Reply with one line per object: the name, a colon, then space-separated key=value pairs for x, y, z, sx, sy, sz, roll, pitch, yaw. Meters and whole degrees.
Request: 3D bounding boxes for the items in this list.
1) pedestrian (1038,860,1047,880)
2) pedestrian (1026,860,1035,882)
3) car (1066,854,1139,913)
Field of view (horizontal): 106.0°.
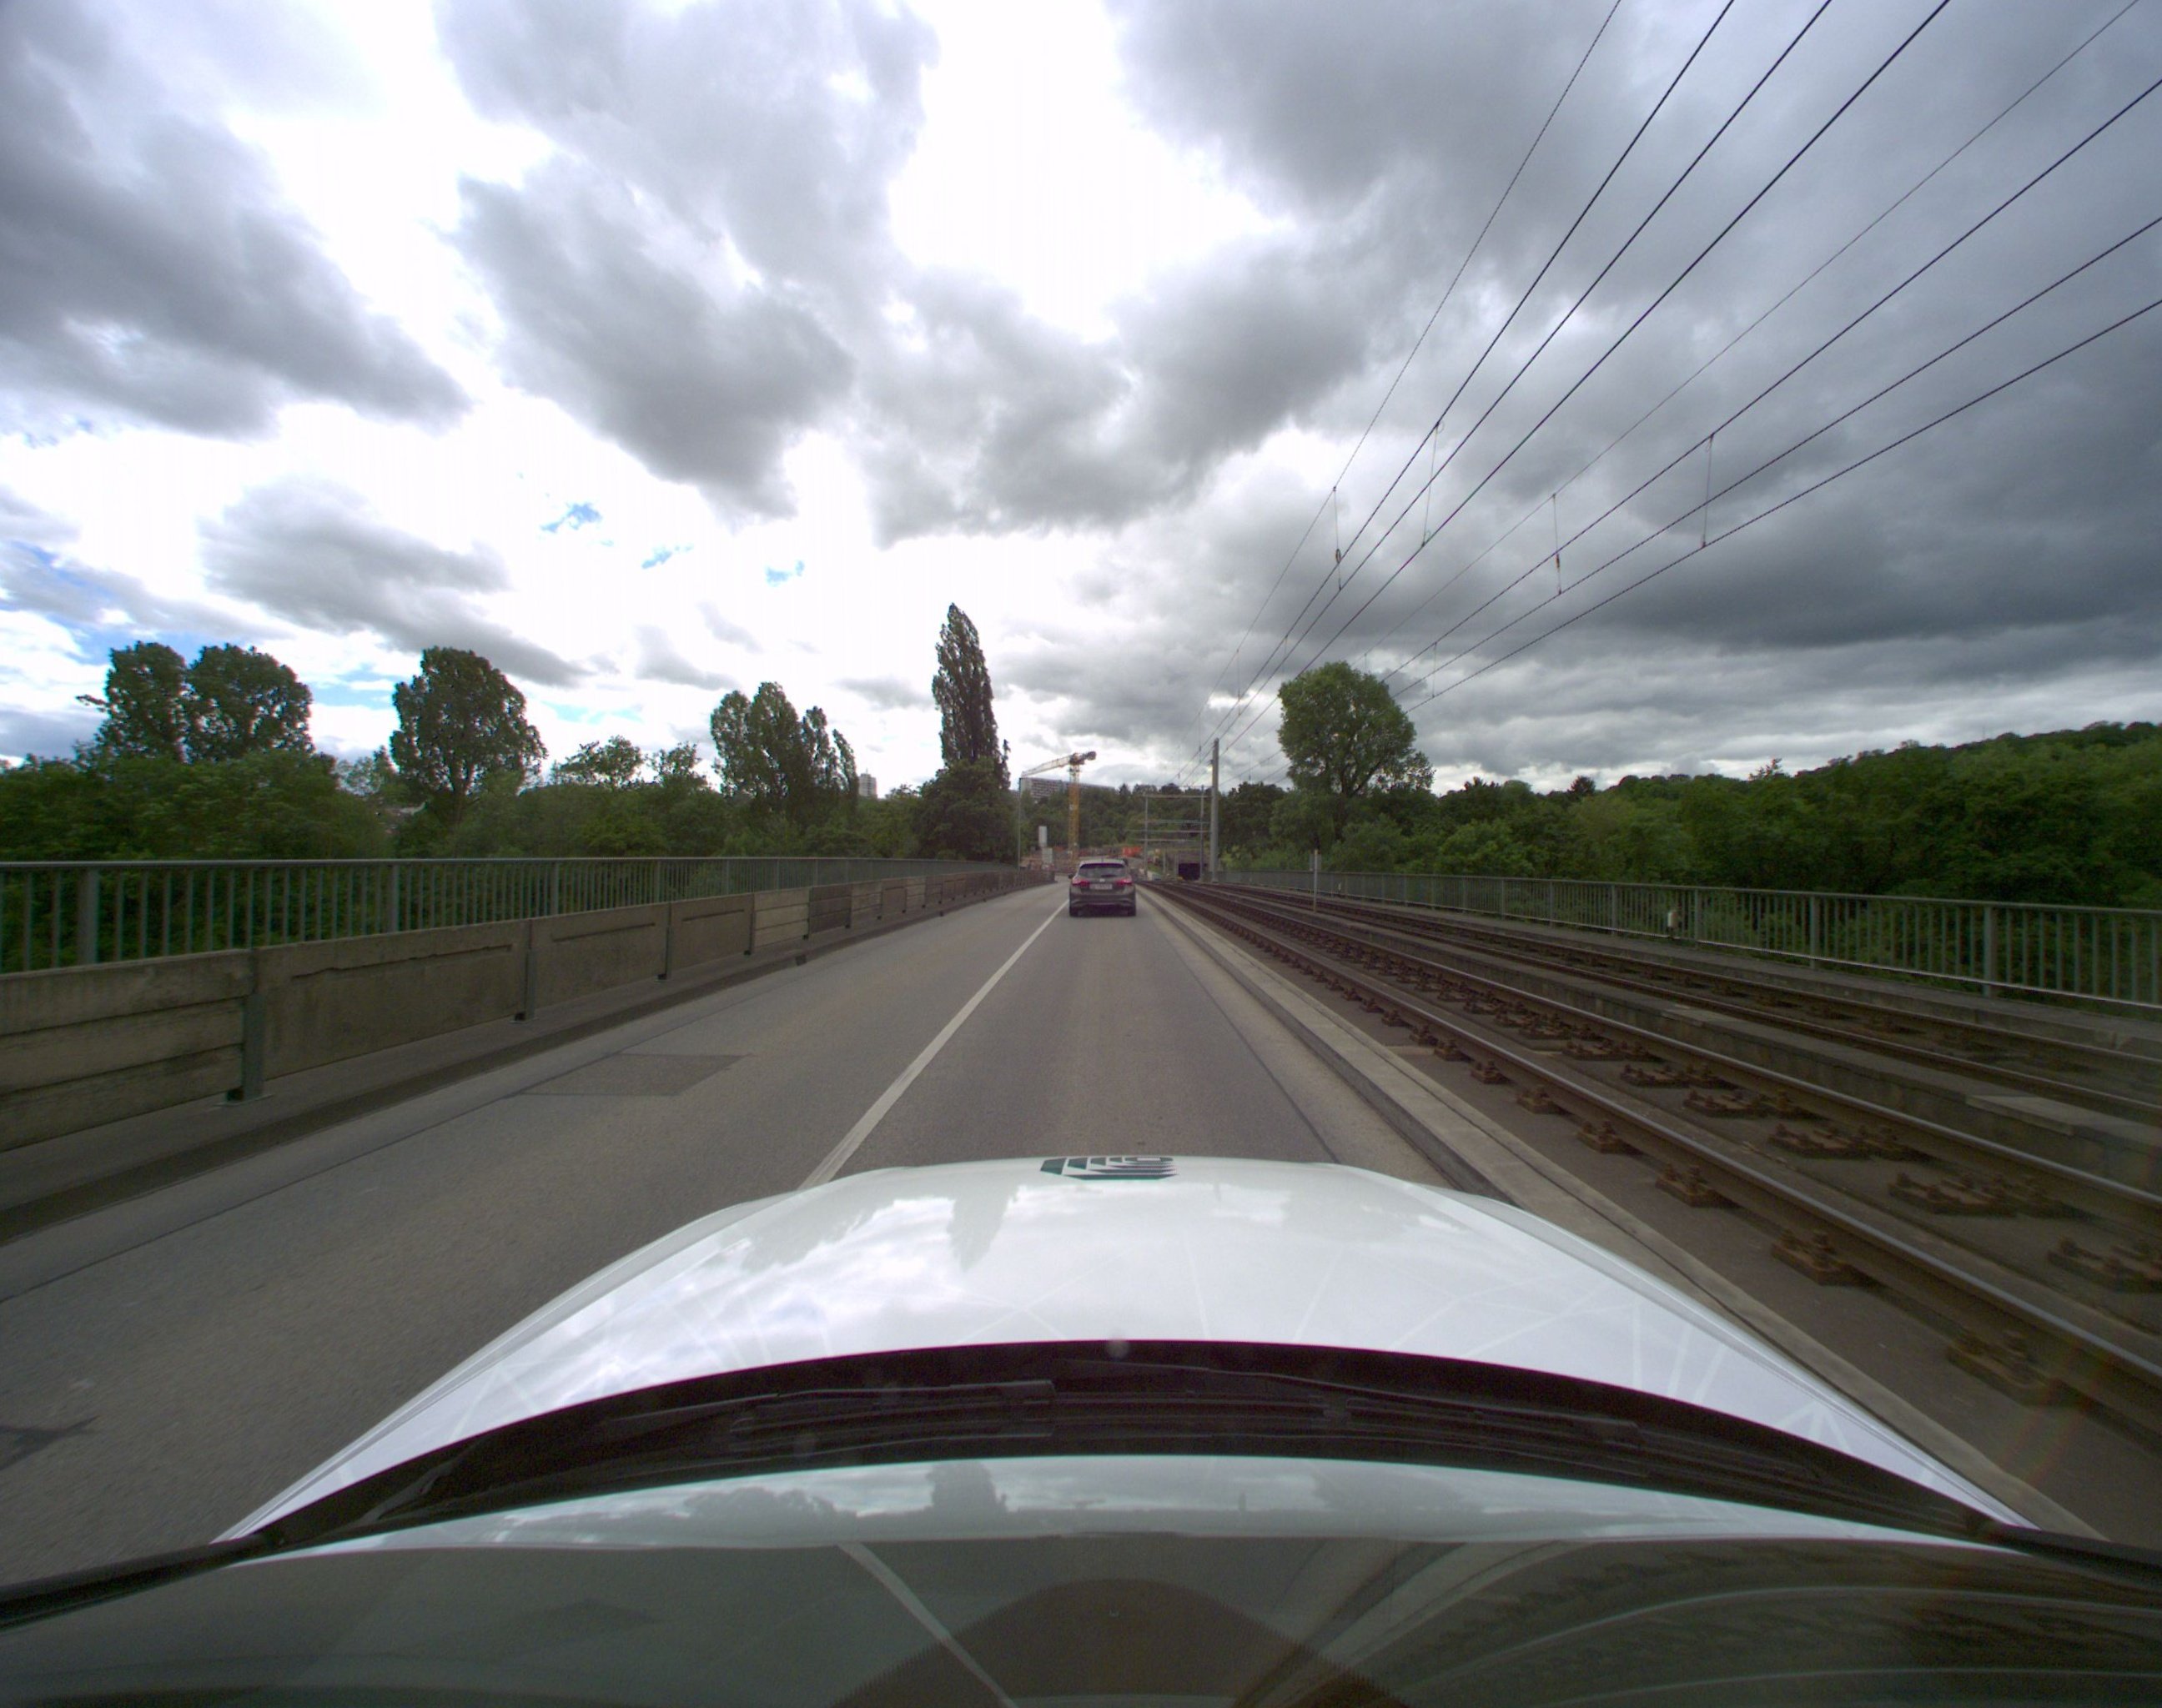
pedestrian: x=-3.264 y=1.326 z=69.439 sx=0.718 sy=1.701 sz=0.723 roll=0 pitch=-1 yaw=1
pedestrian: x=-4.352 y=1.452 z=70.340 sx=0.718 sy=1.840 sz=0.723 roll=0 pitch=-1 yaw=1
car: x=0.505 y=0.785 z=22.817 sx=1.825 sy=1.510 sz=3.997 roll=0 pitch=-1 yaw=-2
